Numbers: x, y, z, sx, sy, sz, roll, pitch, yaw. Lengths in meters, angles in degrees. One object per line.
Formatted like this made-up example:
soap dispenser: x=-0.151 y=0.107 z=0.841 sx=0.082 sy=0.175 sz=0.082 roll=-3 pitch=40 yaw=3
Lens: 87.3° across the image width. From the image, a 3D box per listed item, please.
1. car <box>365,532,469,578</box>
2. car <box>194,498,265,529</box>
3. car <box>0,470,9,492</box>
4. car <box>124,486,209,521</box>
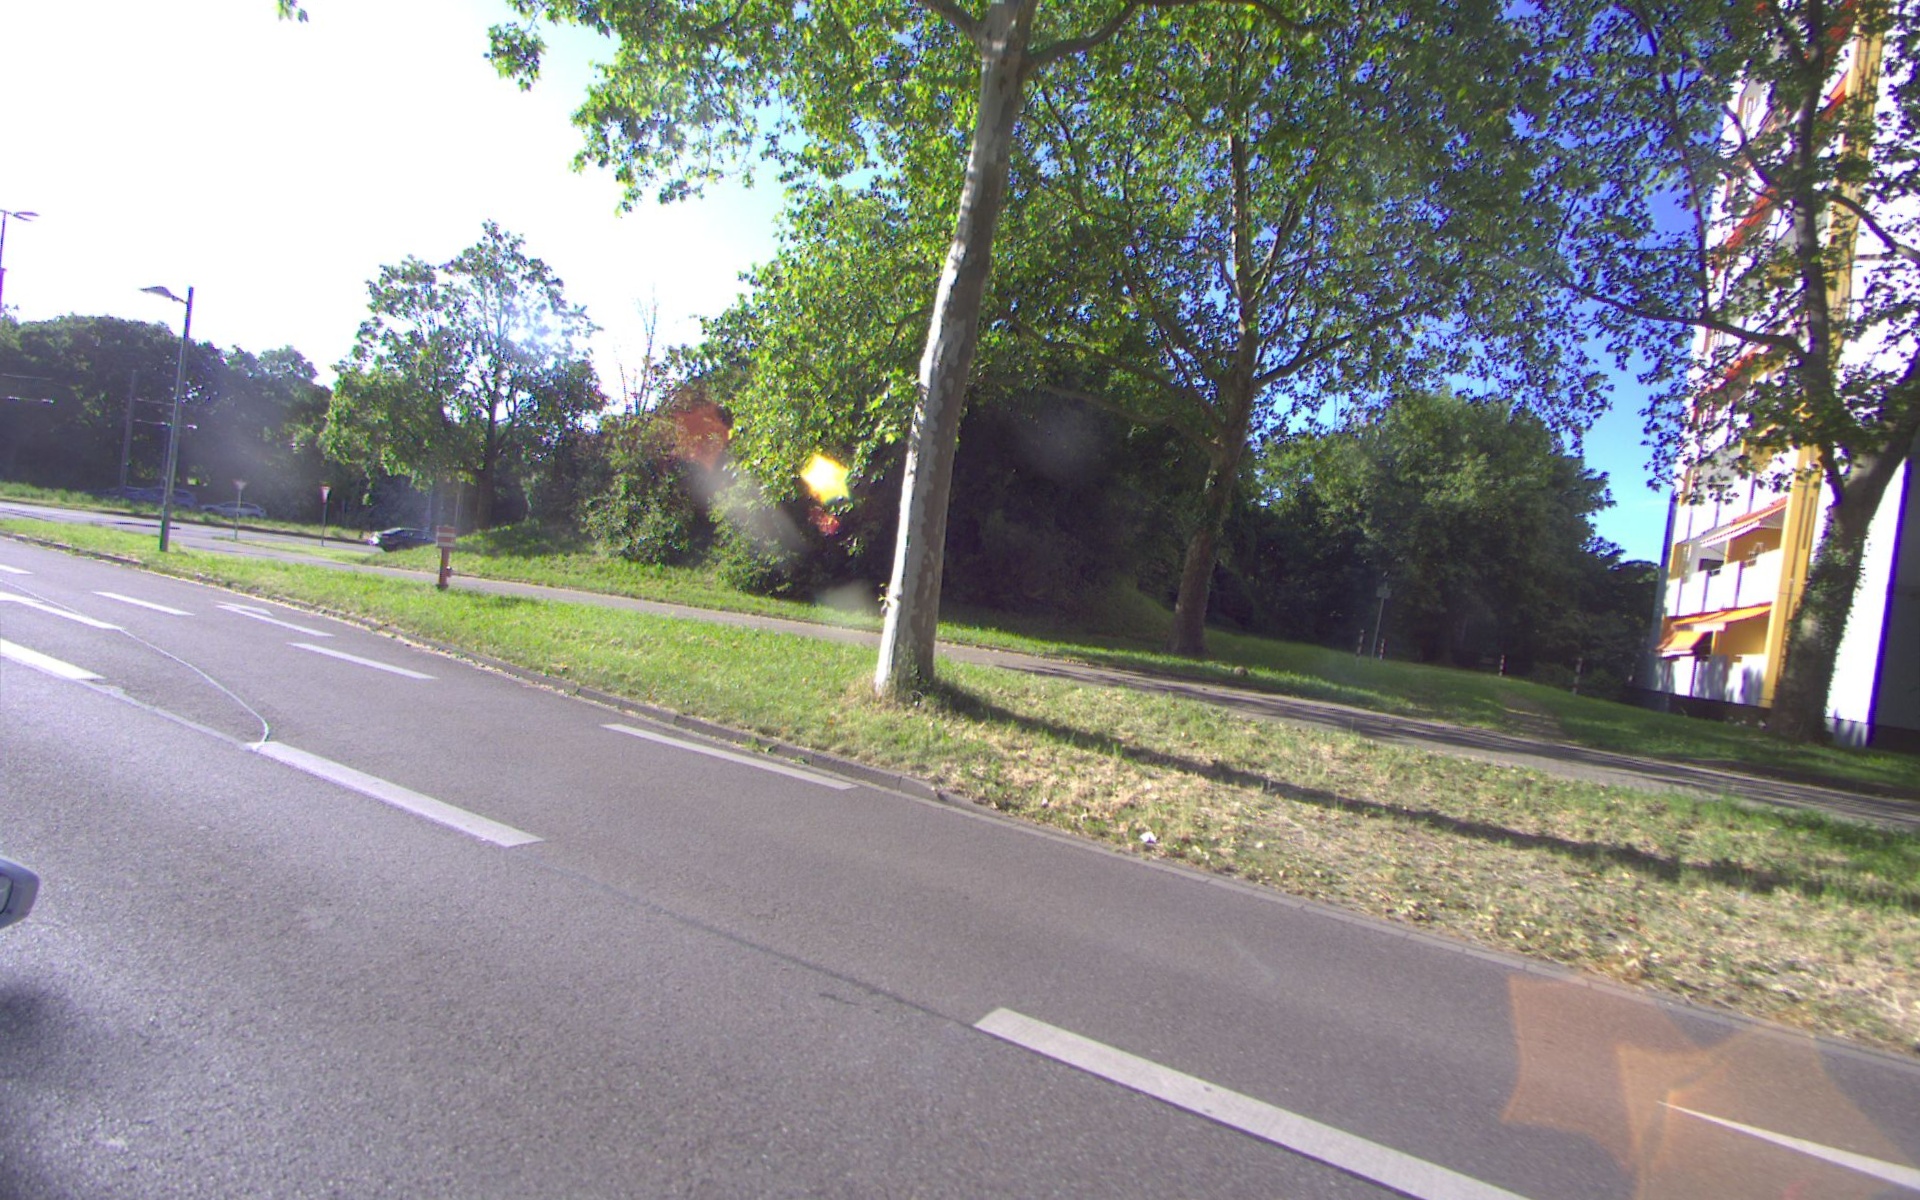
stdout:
car: x=-30.242 y=-2.474 z=56.088 sx=1.961 sy=1.813 sz=4.593 roll=7 pitch=-2 yaw=42
car: x=-53.549 y=-6.332 z=73.800 sx=3.962 sy=1.513 sz=1.845 roll=9 pitch=-1 yaw=-33
car: x=-63.288 y=-7.910 z=63.798 sx=3.963 sy=1.353 sz=1.714 roll=9 pitch=-2 yaw=-34
car: x=-54.662 y=-6.627 z=69.414 sx=4.327 sy=1.577 sz=1.855 roll=9 pitch=-2 yaw=-35
